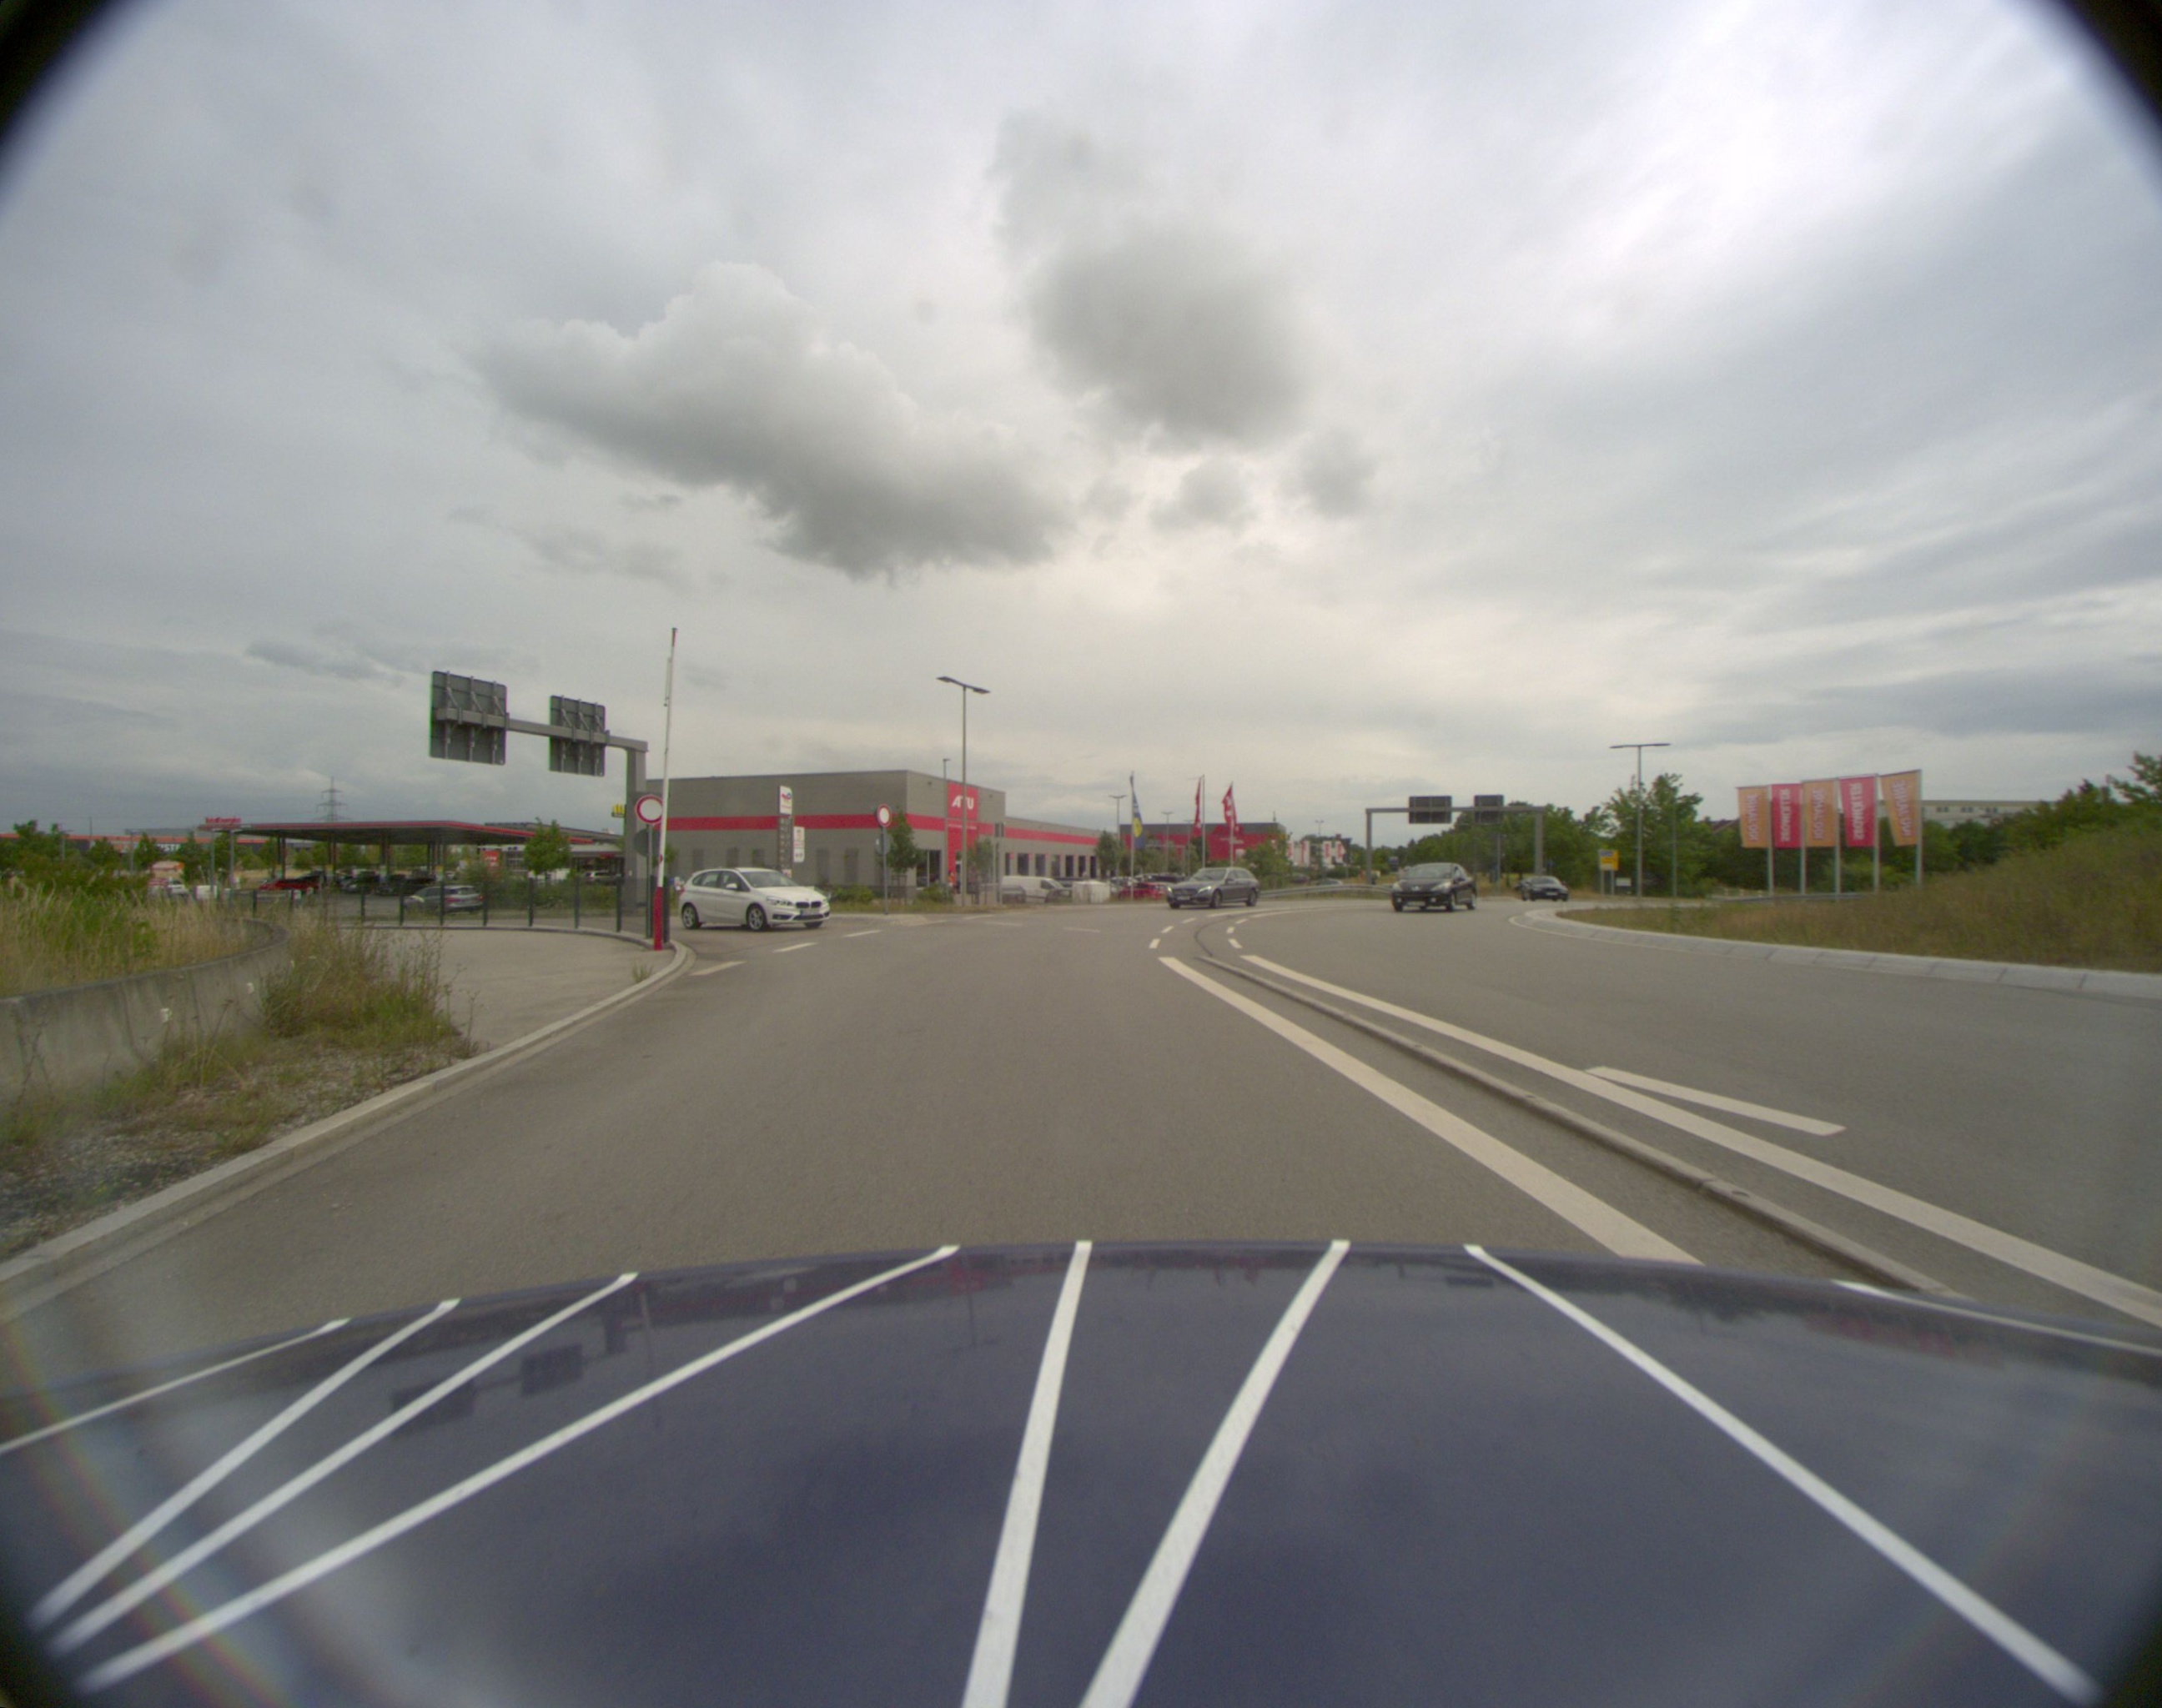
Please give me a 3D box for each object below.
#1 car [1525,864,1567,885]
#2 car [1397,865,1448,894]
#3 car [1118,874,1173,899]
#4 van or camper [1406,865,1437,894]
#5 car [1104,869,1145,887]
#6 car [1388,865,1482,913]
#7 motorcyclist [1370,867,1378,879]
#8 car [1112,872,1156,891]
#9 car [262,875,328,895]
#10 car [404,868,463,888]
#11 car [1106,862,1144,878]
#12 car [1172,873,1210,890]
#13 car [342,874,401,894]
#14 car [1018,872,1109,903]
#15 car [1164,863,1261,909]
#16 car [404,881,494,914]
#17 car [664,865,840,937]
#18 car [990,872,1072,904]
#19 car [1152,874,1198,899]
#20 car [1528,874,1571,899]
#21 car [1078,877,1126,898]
[{"bbox_3d":[40.401,1.754,66.097,2.101,1.780,5.059,0,0,19],"label":"car"},{"bbox_3d":[17.753,1.293,39.376,1.856,1.403,4.567,-1,-1,31],"label":"car"},{"bbox_3d":[4.680,2.308,55.415,1.774,1.570,4.065,0,1,-36],"label":"car"},{"bbox_3d":[28.902,2.088,64.665,2.049,2.350,5.550,-1,-1,21],"label":"van or camper"},{"bbox_3d":[4.305,2.379,74.894,3.693,1.628,1.593,-2,-1,14],"label":"car"},{"bbox_3d":[10.844,1.042,23.156,1.577,1.346,3.833,-1,-2,41],"label":"car"},{"bbox_3d":[39.800,2.615,103.064,0.674,1.566,0.846,2,-2,-7],"label":"motorcyclist"},{"bbox_3d":[4.859,2.517,69.245,3.693,1.628,1.593,-2,-1,14],"label":"car"},{"bbox_3d":[-70.503,2.809,68.226,1.714,1.782,3.842,-1,-3,4],"label":"car"},{"bbox_3d":[-59.884,2.266,70.365,1.713,1.782,3.845,-2,-3,14],"label":"car"},{"bbox_3d":[4.561,1.631,78.560,3.693,1.535,1.593,-2,-1,14],"label":"car"},{"bbox_3d":[10.620,2.675,73.797,1.653,1.612,4.070,2,-3,-26],"label":"car"},{"bbox_3d":[-65.829,2.787,70.562,1.714,1.782,3.842,-1,-3,4],"label":"car"},{"bbox_3d":[-0.973,1.891,43.630,4.826,1.665,1.968,0,-1,14],"label":"car"},{"bbox_3d":[4.807,1.087,27.295,1.760,1.412,4.099,1,1,37],"label":"car"},{"bbox_3d":[-33.696,2.294,40.532,3.991,1.565,1.920,-1,1,20],"label":"car"},{"bbox_3d":[-8.297,1.120,19.083,4.415,1.619,1.788,-1,-1,30],"label":"car"},{"bbox_3d":[-3.300,2.256,50.566,5.069,2.035,2.003,0,-1,14],"label":"car"},{"bbox_3d":[7.953,2.791,64.584,1.908,1.895,4.071,-1,-3,-26],"label":"car"},{"bbox_3d":[25.437,1.745,41.204,1.576,1.261,3.321,-1,-1,38],"label":"car"},{"bbox_3d":[1.741,2.772,62.414,3.693,1.628,1.593,-2,-1,14],"label":"car"}]
